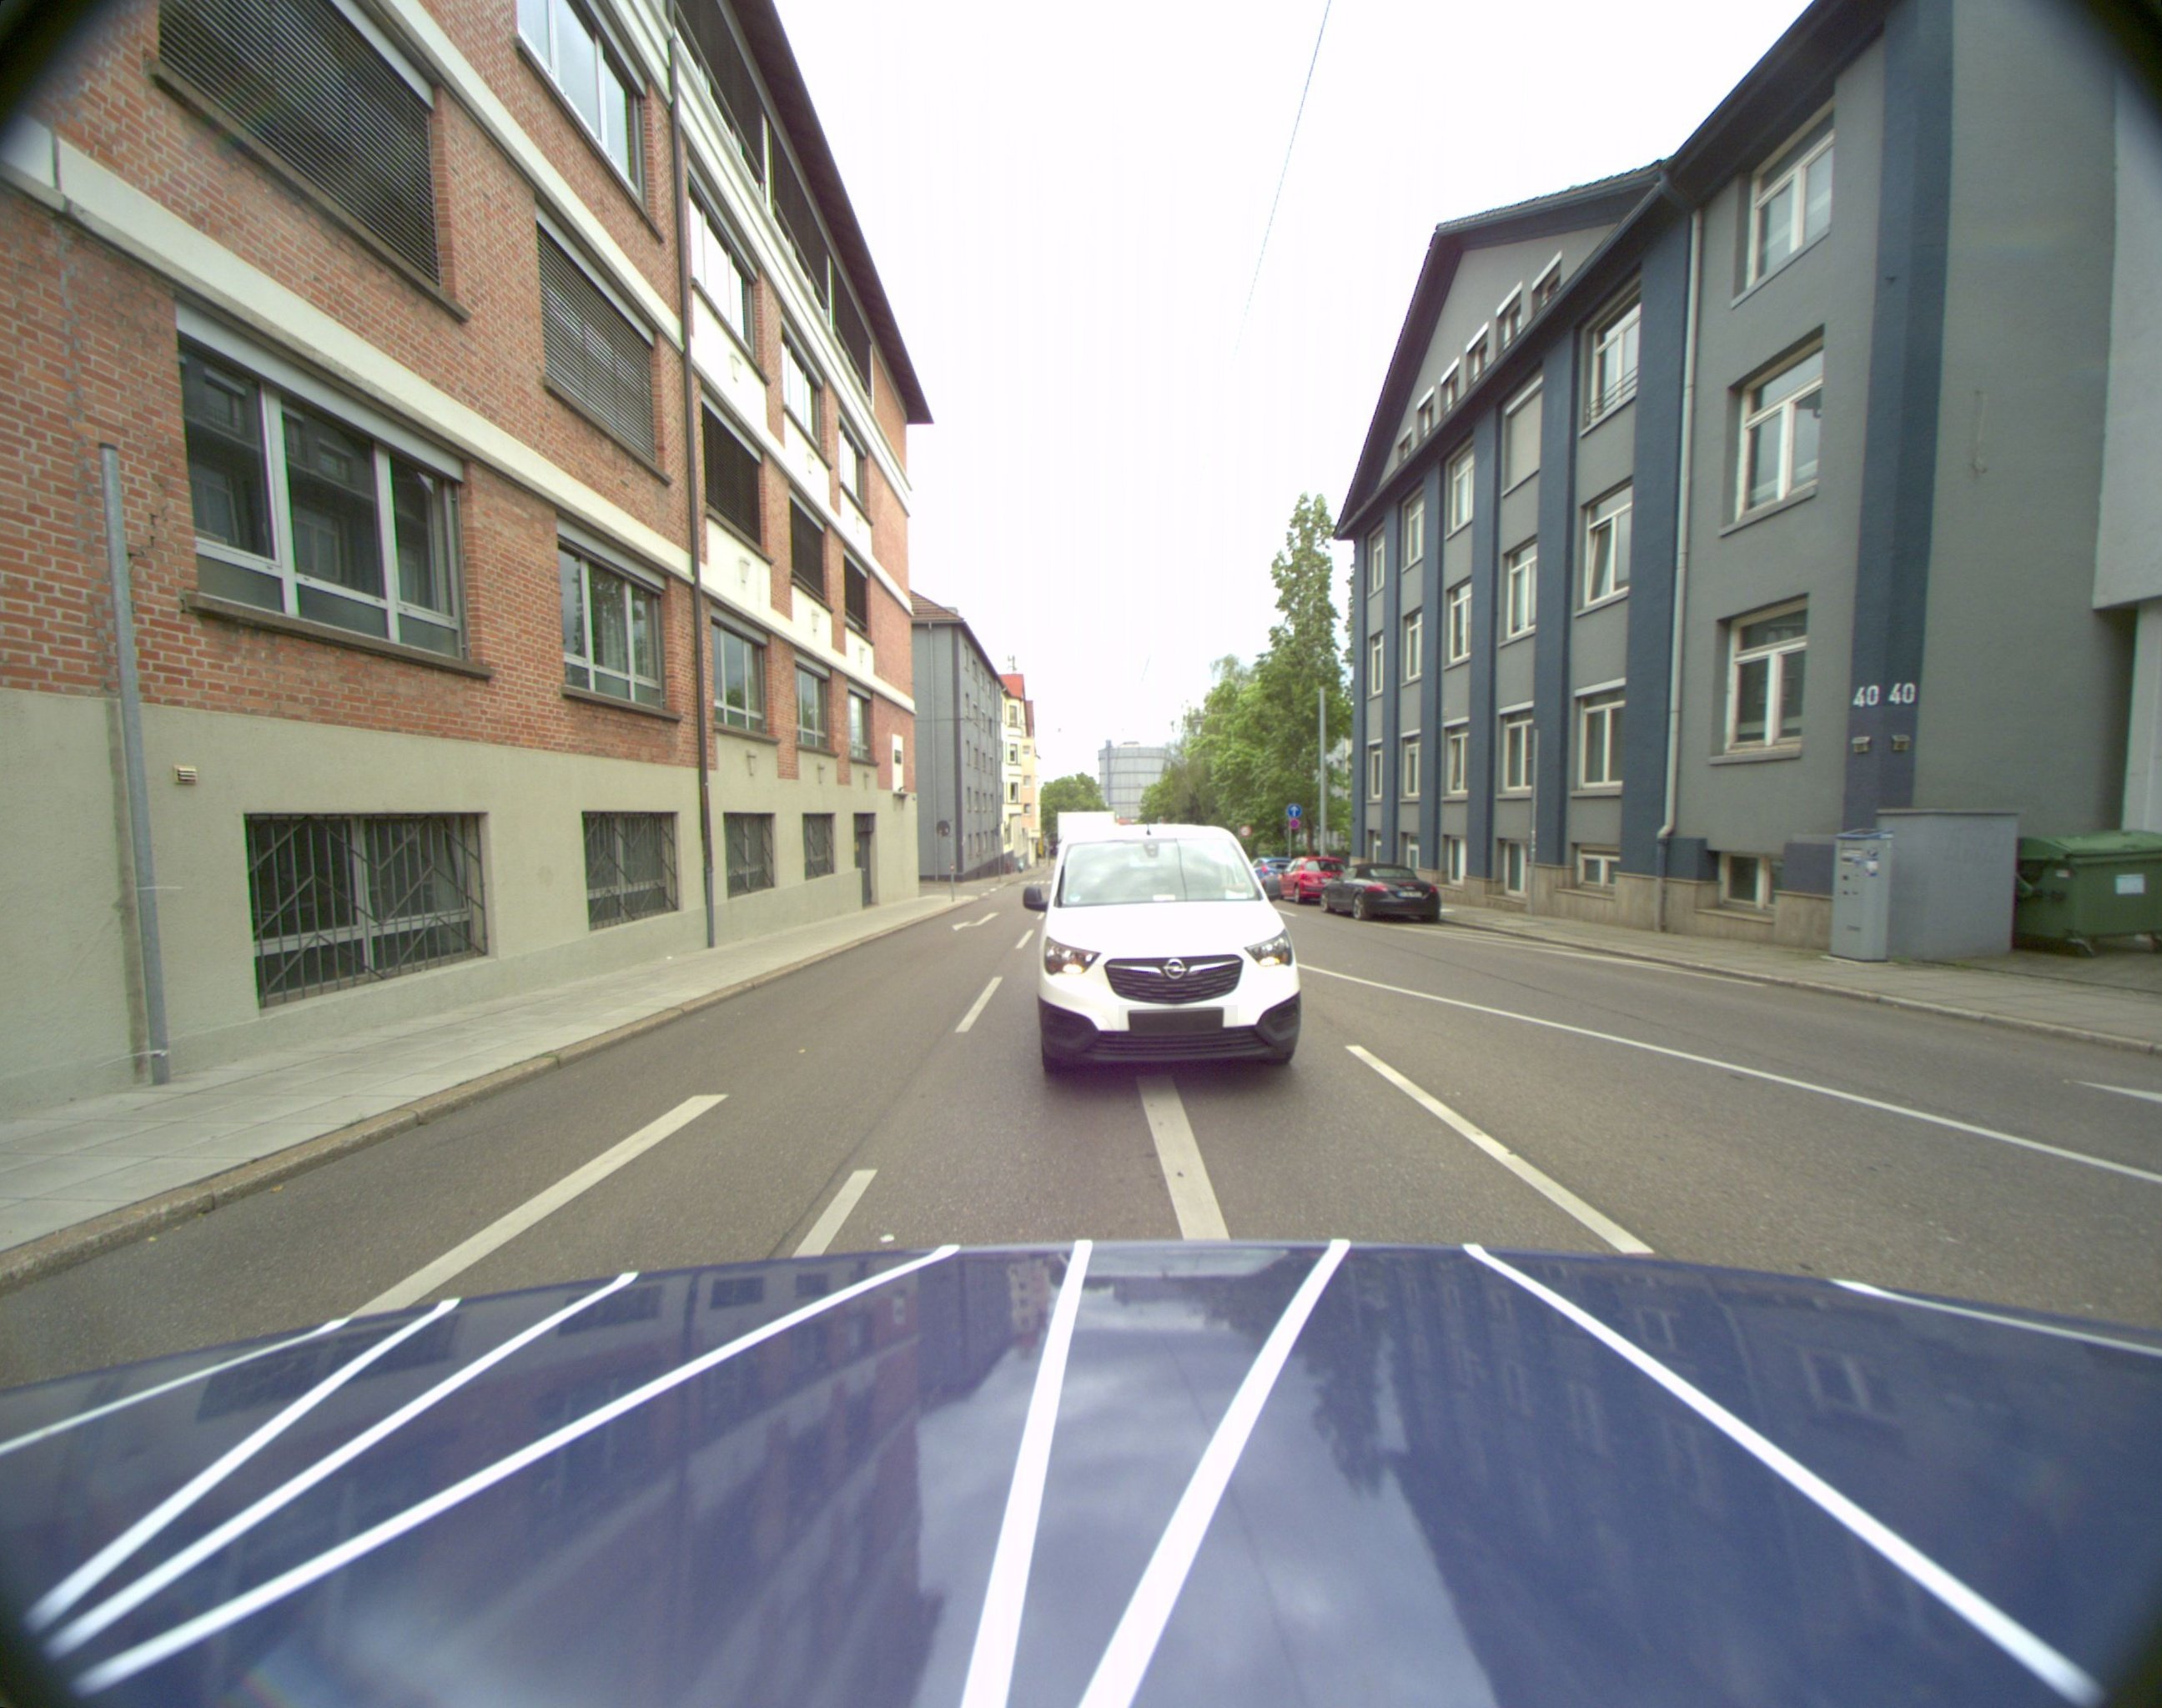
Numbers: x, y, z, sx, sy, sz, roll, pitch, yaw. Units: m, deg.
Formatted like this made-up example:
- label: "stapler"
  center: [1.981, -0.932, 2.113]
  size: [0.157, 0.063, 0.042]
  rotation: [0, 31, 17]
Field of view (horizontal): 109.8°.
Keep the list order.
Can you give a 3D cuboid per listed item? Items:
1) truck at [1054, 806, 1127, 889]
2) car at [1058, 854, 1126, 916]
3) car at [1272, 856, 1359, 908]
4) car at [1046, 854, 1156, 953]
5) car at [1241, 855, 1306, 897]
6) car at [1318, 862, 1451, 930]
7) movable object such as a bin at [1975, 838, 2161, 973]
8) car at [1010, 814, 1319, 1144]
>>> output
- label: "truck"
  center: [0.450, -0.306, 36.633]
  size: [2.969, 3.409, 8.879]
  rotation: [-2, 1, 1]
- label: "car"
  center: [0.314, 0.819, 21.886]
  size: [1.739, 1.519, 3.999]
  rotation: [-2, 1, 1]
- label: "car"
  center: [7.411, 0.828, 24.344]
  size: [1.644, 1.441, 3.729]
  rotation: [-2, 1, 1]
- label: "car"
  center: [0.352, 0.809, 14.394]
  size: [1.739, 1.519, 3.999]
  rotation: [-2, 1, 1]
- label: "car"
  center: [7.478, 0.813, 29.831]
  size: [1.644, 1.441, 3.729]
  rotation: [-2, 1, 1]
- label: "car"
  center: [7.216, 0.946, 18.472]
  size: [1.801, 1.384, 3.729]
  rotation: [0, 1, 1]
- label: "movable object such as a bin"
  center: [12.066, 0.584, 9.201]
  size: [1.229, 1.498, 1.040]
  rotation: [-2, 1, 1]
- label: "car"
  center: [0.518, 0.714, 6.437]
  size: [1.739, 1.875, 3.999]
  rotation: [-2, 1, 1]
